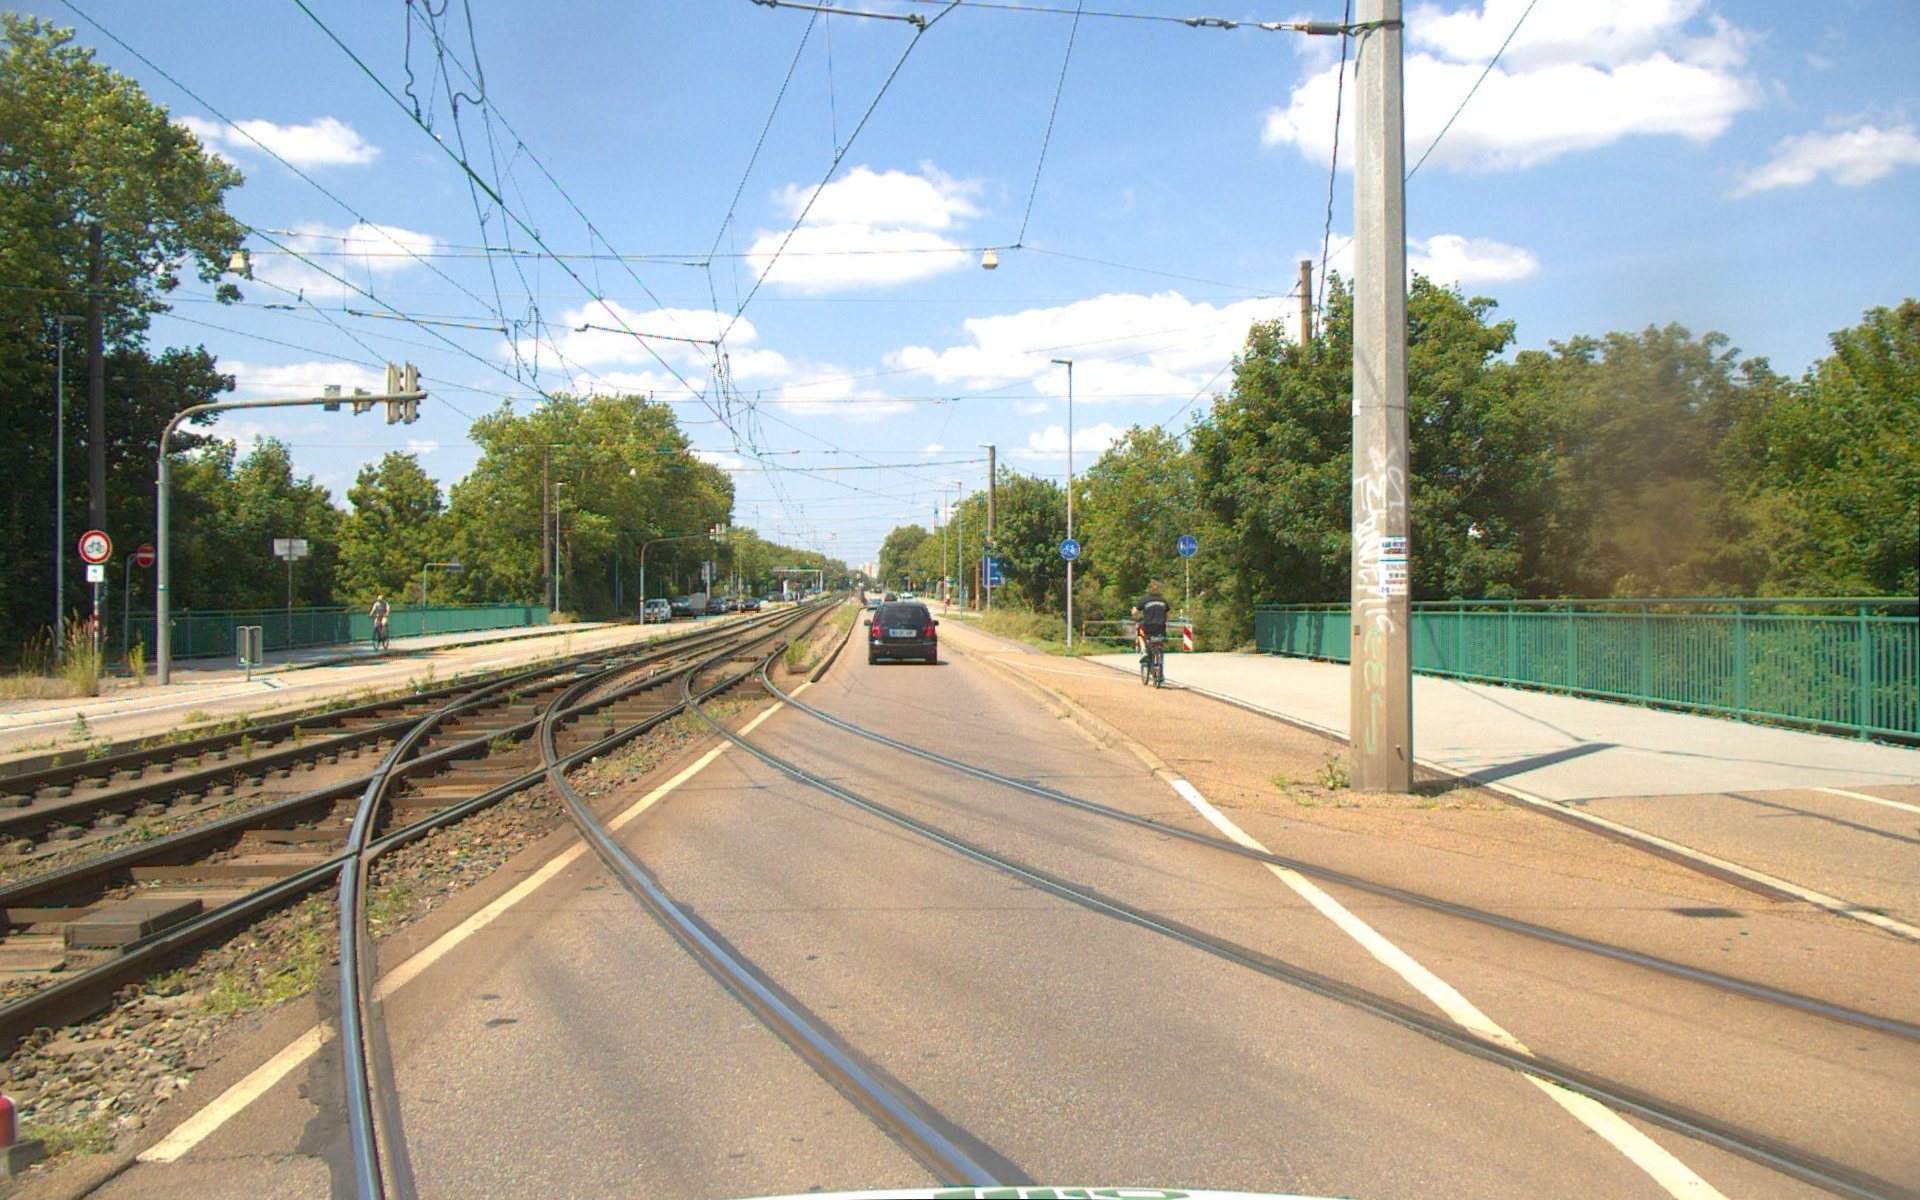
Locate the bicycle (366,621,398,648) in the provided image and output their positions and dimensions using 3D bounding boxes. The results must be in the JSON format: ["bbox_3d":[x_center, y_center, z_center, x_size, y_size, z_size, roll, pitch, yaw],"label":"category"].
[{"bbox_3d":[-19.122,1.138,54.716,0.459,0.883,1.742,0,0,-1],"label":"bicycle"}]

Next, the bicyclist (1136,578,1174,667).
[{"bbox_3d":[3.378,0.383,28.634,0.573,1.521,0.558,1,1,1],"label":"bicyclist"}]

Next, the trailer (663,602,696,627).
[{"bbox_3d":[-22.909,1.162,135.241,2.415,1.922,5.951,1,0,-8],"label":"trailer"}]

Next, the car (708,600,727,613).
[{"bbox_3d":[-26.738,0.722,182.288,1.834,1.425,4.413,1,0,-5],"label":"car"}]

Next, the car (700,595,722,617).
[{"bbox_3d":[-25.692,0.615,170.584,1.817,2.048,3.998,1,1,-3],"label":"car"}]

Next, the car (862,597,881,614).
[{"bbox_3d":[-9.570,0.589,179.008,1.847,1.668,3.998,4,1,-3],"label":"car"}]

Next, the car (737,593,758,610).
[{"bbox_3d":[-21.734,0.156,169.112,1.838,1.750,5.326,0,0,-4],"label":"car"}]

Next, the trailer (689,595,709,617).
[{"bbox_3d":[-24.552,0.538,155.618,1.579,2.049,3.911,1,0,-6],"label":"trailer"}]

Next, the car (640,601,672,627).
[{"bbox_3d":[-21.961,1.014,119.564,1.686,1.659,4.612,-3,2,-4],"label":"car"}]

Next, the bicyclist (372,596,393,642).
[{"bbox_3d":[-19.120,0.625,54.783,0.447,1.500,0.633,0,-1,-1],"label":"bicyclist"}]

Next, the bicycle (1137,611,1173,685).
[{"bbox_3d":[3.369,0.810,28.636,0.423,1.172,1.855,1,1,1],"label":"bicycle"}]

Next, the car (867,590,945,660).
[{"bbox_3d":[-1.343,0.598,42.784,1.815,1.597,4.389,1,2,0],"label":"car"}]

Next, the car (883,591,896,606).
[{"bbox_3d":[-10.101,-0.237,237.534,1.751,2.048,3.998,1,1,-3],"label":"car"}]
